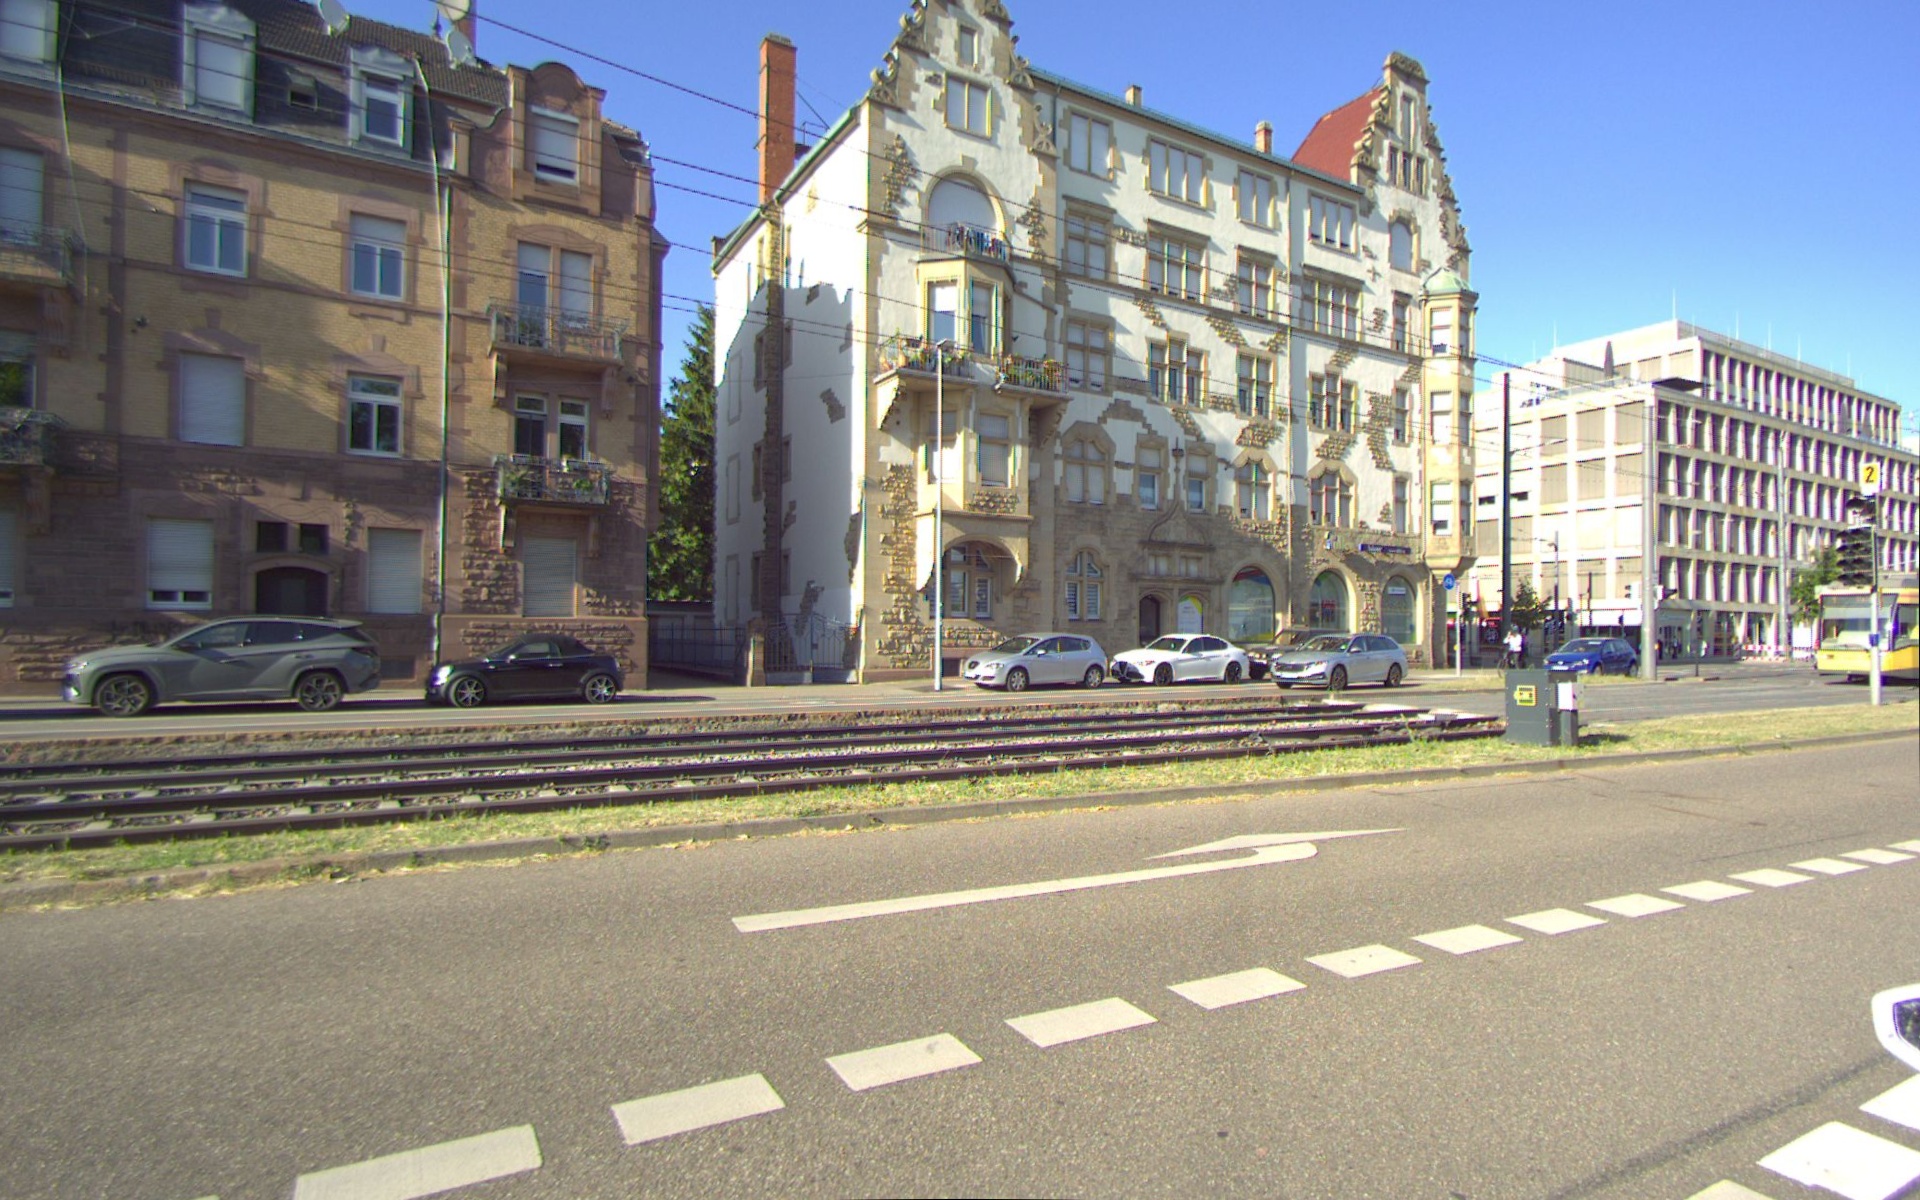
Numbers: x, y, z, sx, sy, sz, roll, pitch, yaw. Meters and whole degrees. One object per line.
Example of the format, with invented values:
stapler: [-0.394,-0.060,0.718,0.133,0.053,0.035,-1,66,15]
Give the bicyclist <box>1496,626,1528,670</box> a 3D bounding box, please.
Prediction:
bicyclist: [19.991,1.746,36.393,0.776,1.583,0.682,1,-2,-29]

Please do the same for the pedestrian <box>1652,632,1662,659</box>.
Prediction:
pedestrian: [47.953,3.145,69.104,0.464,1.867,0.443,-1,-2,22]

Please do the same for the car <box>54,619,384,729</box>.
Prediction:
car: [-12.732,1.212,17.670,4.452,1.644,1.846,1,1,-32]

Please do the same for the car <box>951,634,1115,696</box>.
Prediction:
car: [1.970,1.666,26.612,4.178,1.450,1.699,1,0,-33]

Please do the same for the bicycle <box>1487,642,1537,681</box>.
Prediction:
bicycle: [20.007,2.213,36.387,1.923,1.400,0.682,1,-2,-30]

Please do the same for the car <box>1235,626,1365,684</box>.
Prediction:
car: [10.997,1.729,32.427,4.170,1.698,1.707,1,0,-32]

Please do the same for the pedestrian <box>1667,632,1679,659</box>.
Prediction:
pedestrian: [48.851,3.097,68.835,0.522,1.867,0.443,-1,-2,22]

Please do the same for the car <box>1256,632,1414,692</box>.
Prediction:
car: [10.065,1.612,26.817,4.497,1.476,1.807,2,-3,-37]

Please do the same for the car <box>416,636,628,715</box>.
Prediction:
car: [-8.703,1.442,20.028,3.684,1.372,1.614,1,1,-32]

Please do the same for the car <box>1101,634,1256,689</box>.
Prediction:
car: [6.477,1.770,29.640,4.605,1.442,1.707,1,0,-32]

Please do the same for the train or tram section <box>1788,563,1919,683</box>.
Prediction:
train or tram section: [32.836,0.856,34.290,13.051,3.535,2.799,1,-2,-31]

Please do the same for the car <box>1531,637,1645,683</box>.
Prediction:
car: [21.576,2.020,34.465,4.114,1.476,1.809,2,-3,-34]
